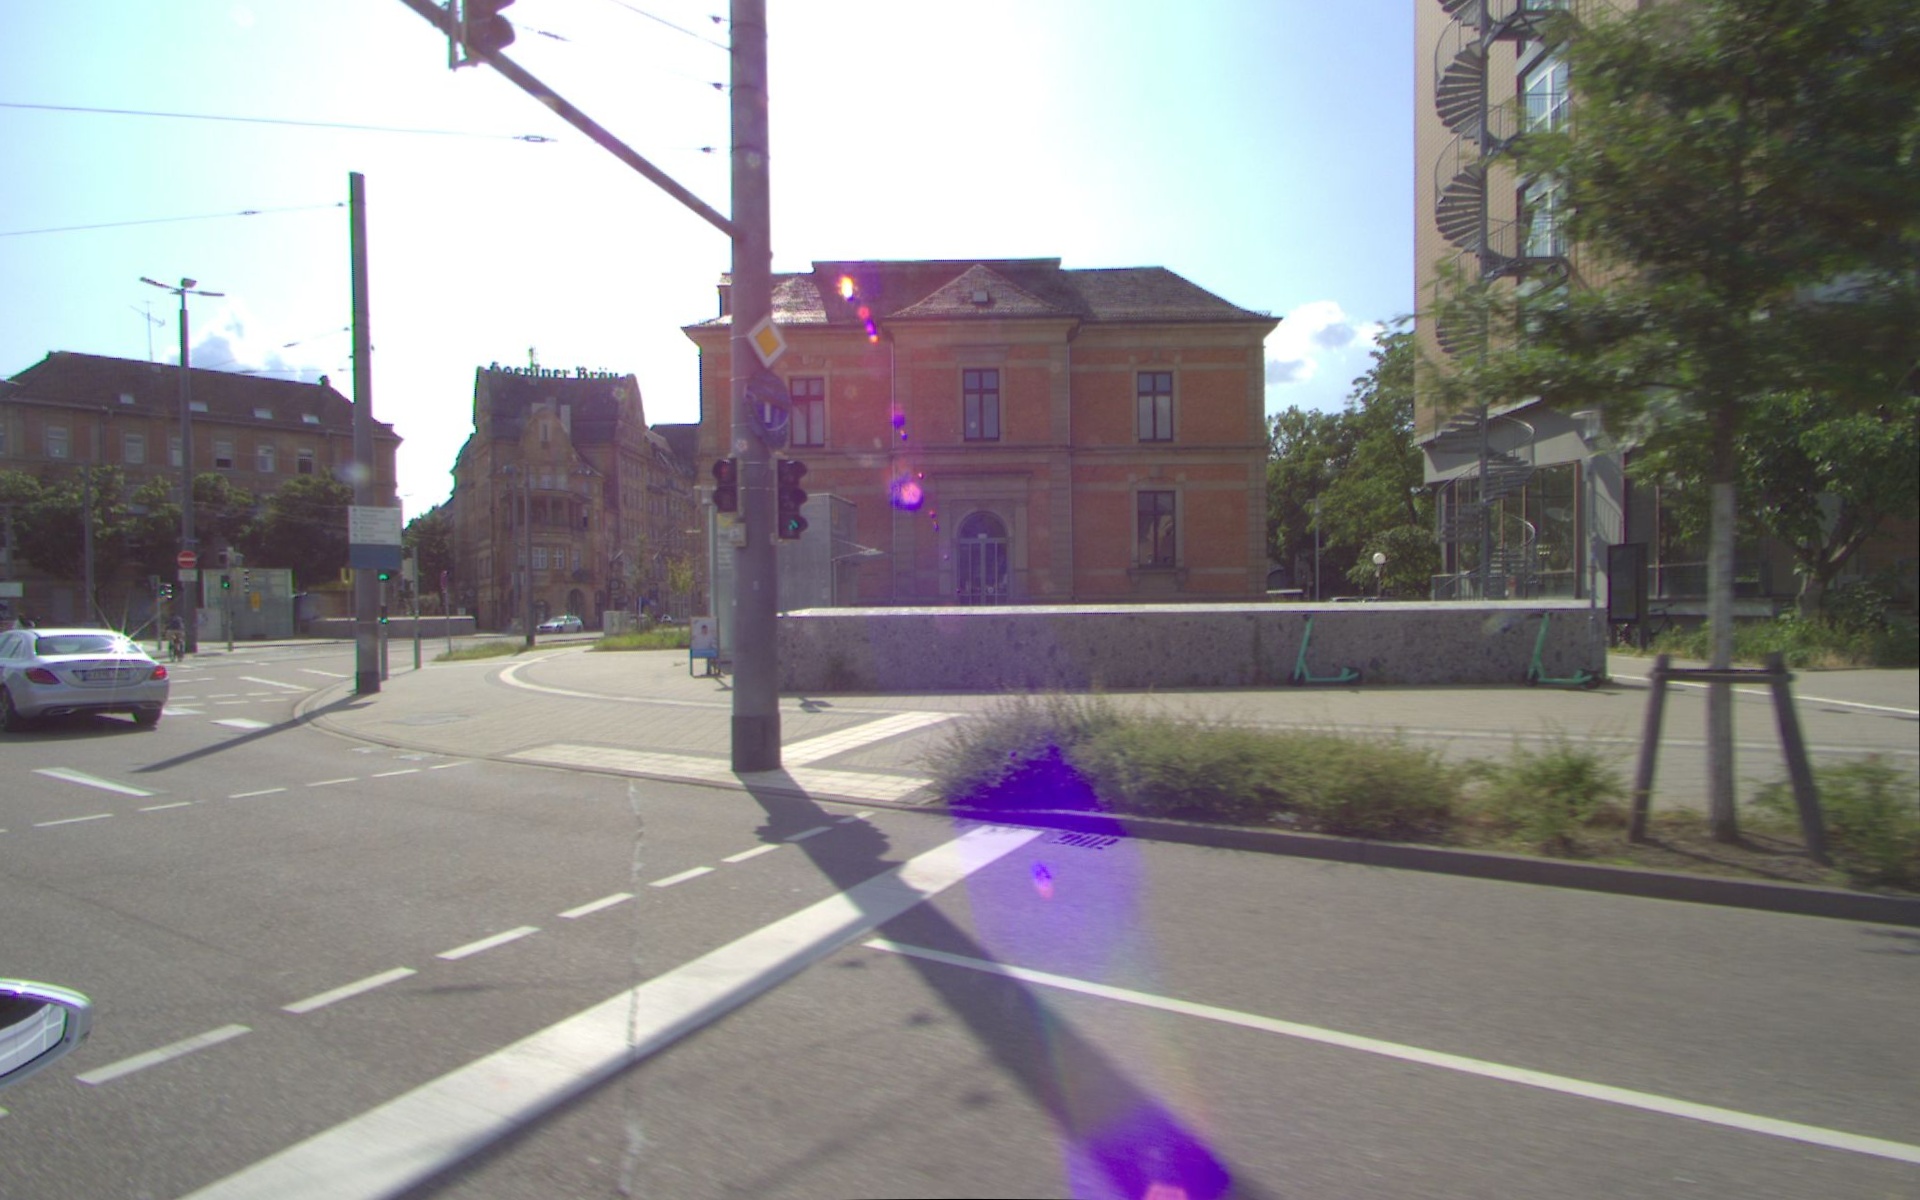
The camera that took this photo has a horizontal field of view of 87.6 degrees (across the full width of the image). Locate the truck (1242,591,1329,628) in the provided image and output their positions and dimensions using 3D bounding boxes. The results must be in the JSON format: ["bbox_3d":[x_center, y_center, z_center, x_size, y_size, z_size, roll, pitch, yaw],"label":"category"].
[{"bbox_3d":[18.305,0.561,56.541,4.302,2.039,2.001,0,-2,5],"label":"truck"}]

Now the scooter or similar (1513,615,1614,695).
[{"bbox_3d":[9.088,0.799,15.116,0.458,1.119,1.315,-1,1,-19],"label":"scooter or similar"}]

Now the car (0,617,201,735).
[{"bbox_3d":[-14.066,1.075,15.710,4.690,1.474,1.927,2,0,33],"label":"car"}]

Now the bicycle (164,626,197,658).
[{"bbox_3d":[-26.003,1.391,33.418,0.839,0.983,1.945,-1,0,-38],"label":"bicycle"}]

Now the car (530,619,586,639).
[{"bbox_3d":[-31.570,2.240,78.784,2.007,1.448,4.538,-2,-1,8],"label":"car"}]

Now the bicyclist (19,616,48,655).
[{"bbox_3d":[-35.762,1.358,38.664,0.762,1.470,0.607,0,0,28],"label":"bicyclist"}]

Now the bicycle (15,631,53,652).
[{"bbox_3d":[-35.797,1.598,38.698,1.596,0.786,0.584,-1,0,28],"label":"bicycle"}]

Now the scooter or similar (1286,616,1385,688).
[{"bbox_3d":[6.055,0.837,16.188,1.419,1.133,0.466,0,1,7],"label":"scooter or similar"}]

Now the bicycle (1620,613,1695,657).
[{"bbox_3d":[17.404,0.862,25.003,1.478,1.002,0.547,-3,0,-3],"label":"bicycle"}]

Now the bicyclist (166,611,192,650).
[{"bbox_3d":[-26.016,0.995,33.377,0.629,1.237,0.916,-2,3,-38],"label":"bicyclist"}]

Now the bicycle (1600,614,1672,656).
[{"bbox_3d":[17.410,0.895,25.793,1.478,1.002,0.547,-3,0,-3],"label":"bicycle"}]
